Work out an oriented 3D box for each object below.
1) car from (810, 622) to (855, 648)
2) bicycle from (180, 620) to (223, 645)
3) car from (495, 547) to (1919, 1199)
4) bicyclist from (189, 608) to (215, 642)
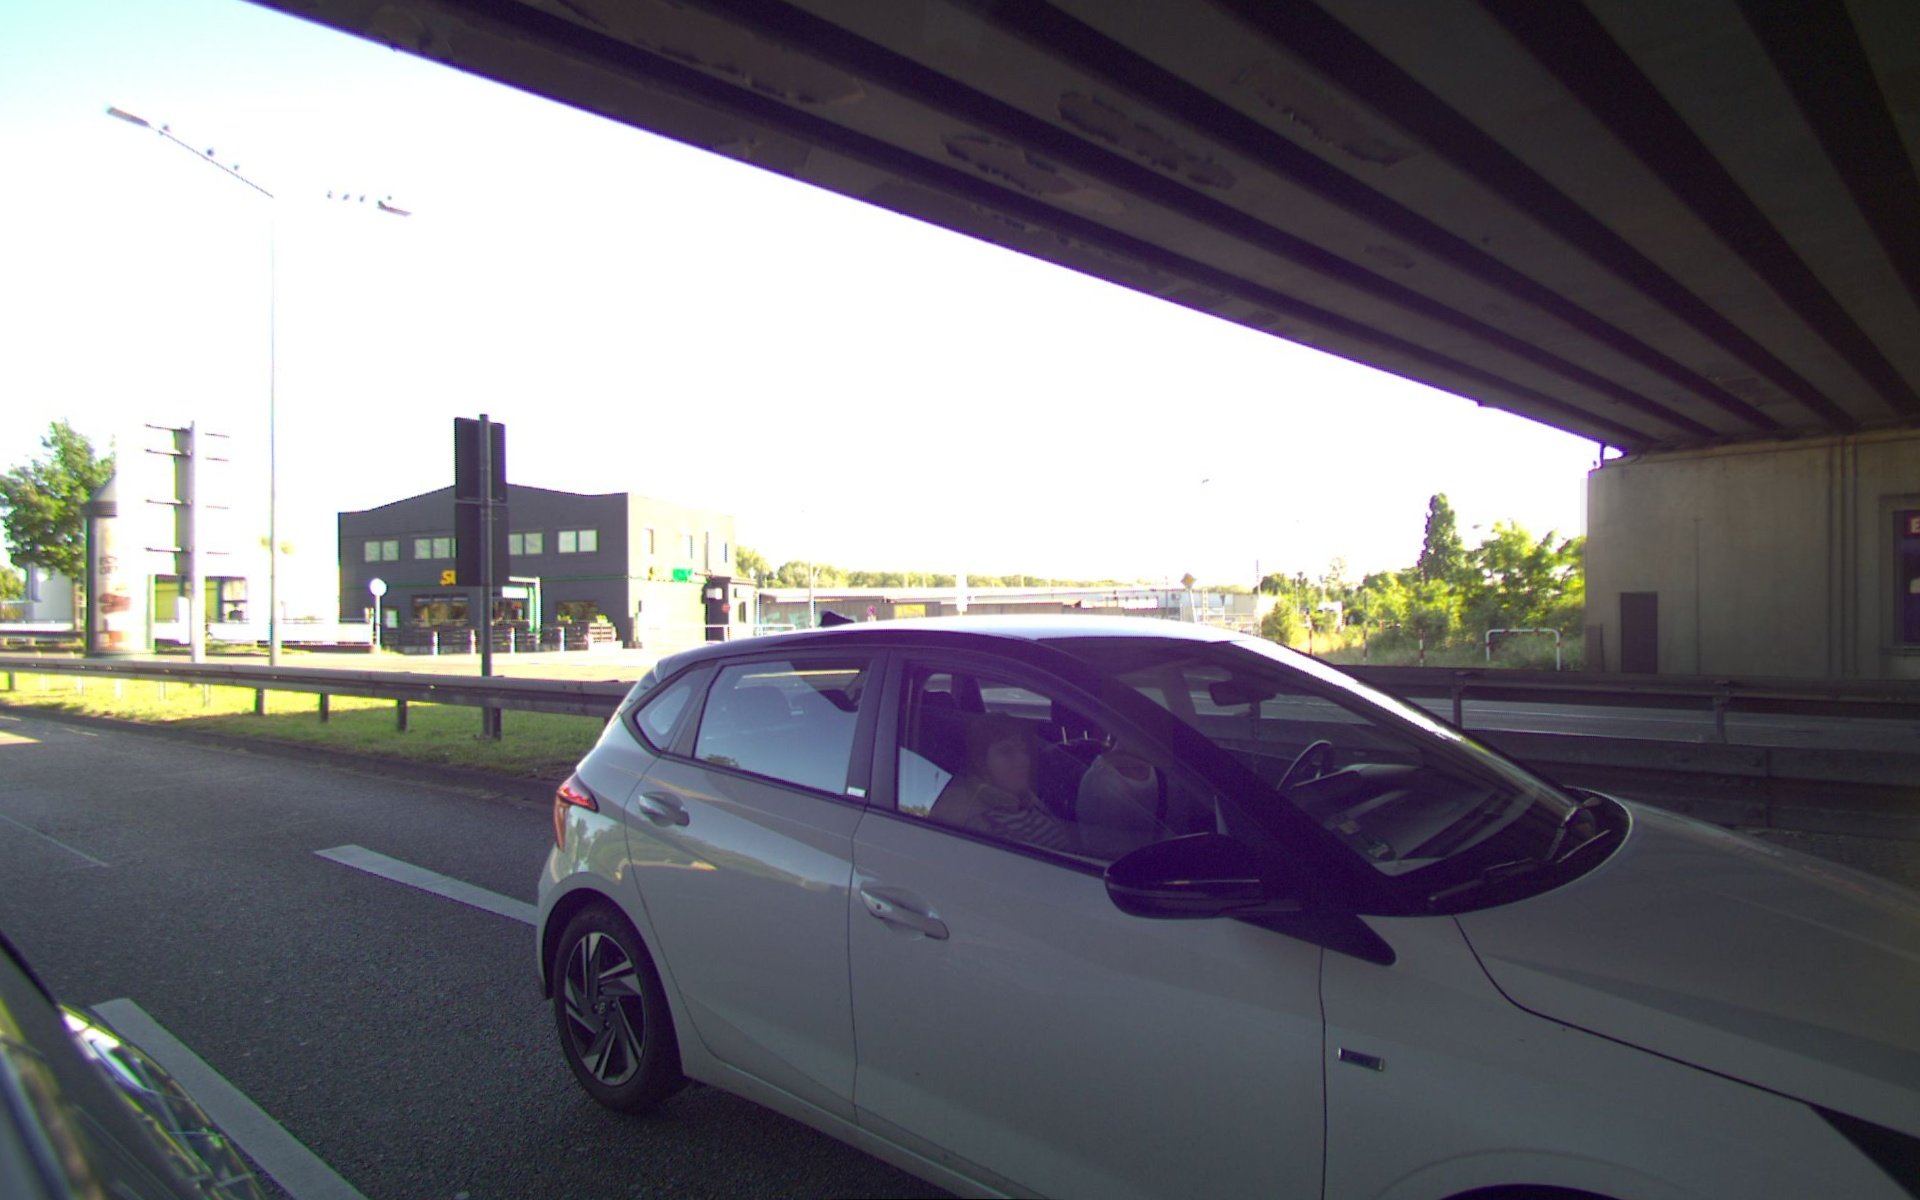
[{"bbox_3d":[-6.876,1.929,54.959,1.806,1.291,4.180,1,-3,1],"label":"car"},{"bbox_3d":[-32.619,1.397,43.518,1.736,1.031,0.590,-1,0,19],"label":"bicycle"},{"bbox_3d":[0.558,0.716,2.667,3.987,1.491,1.716,-1,-1,40],"label":"car"},{"bbox_3d":[-32.601,1.065,43.515,0.703,1.438,0.590,-1,0,18],"label":"bicyclist"}]
